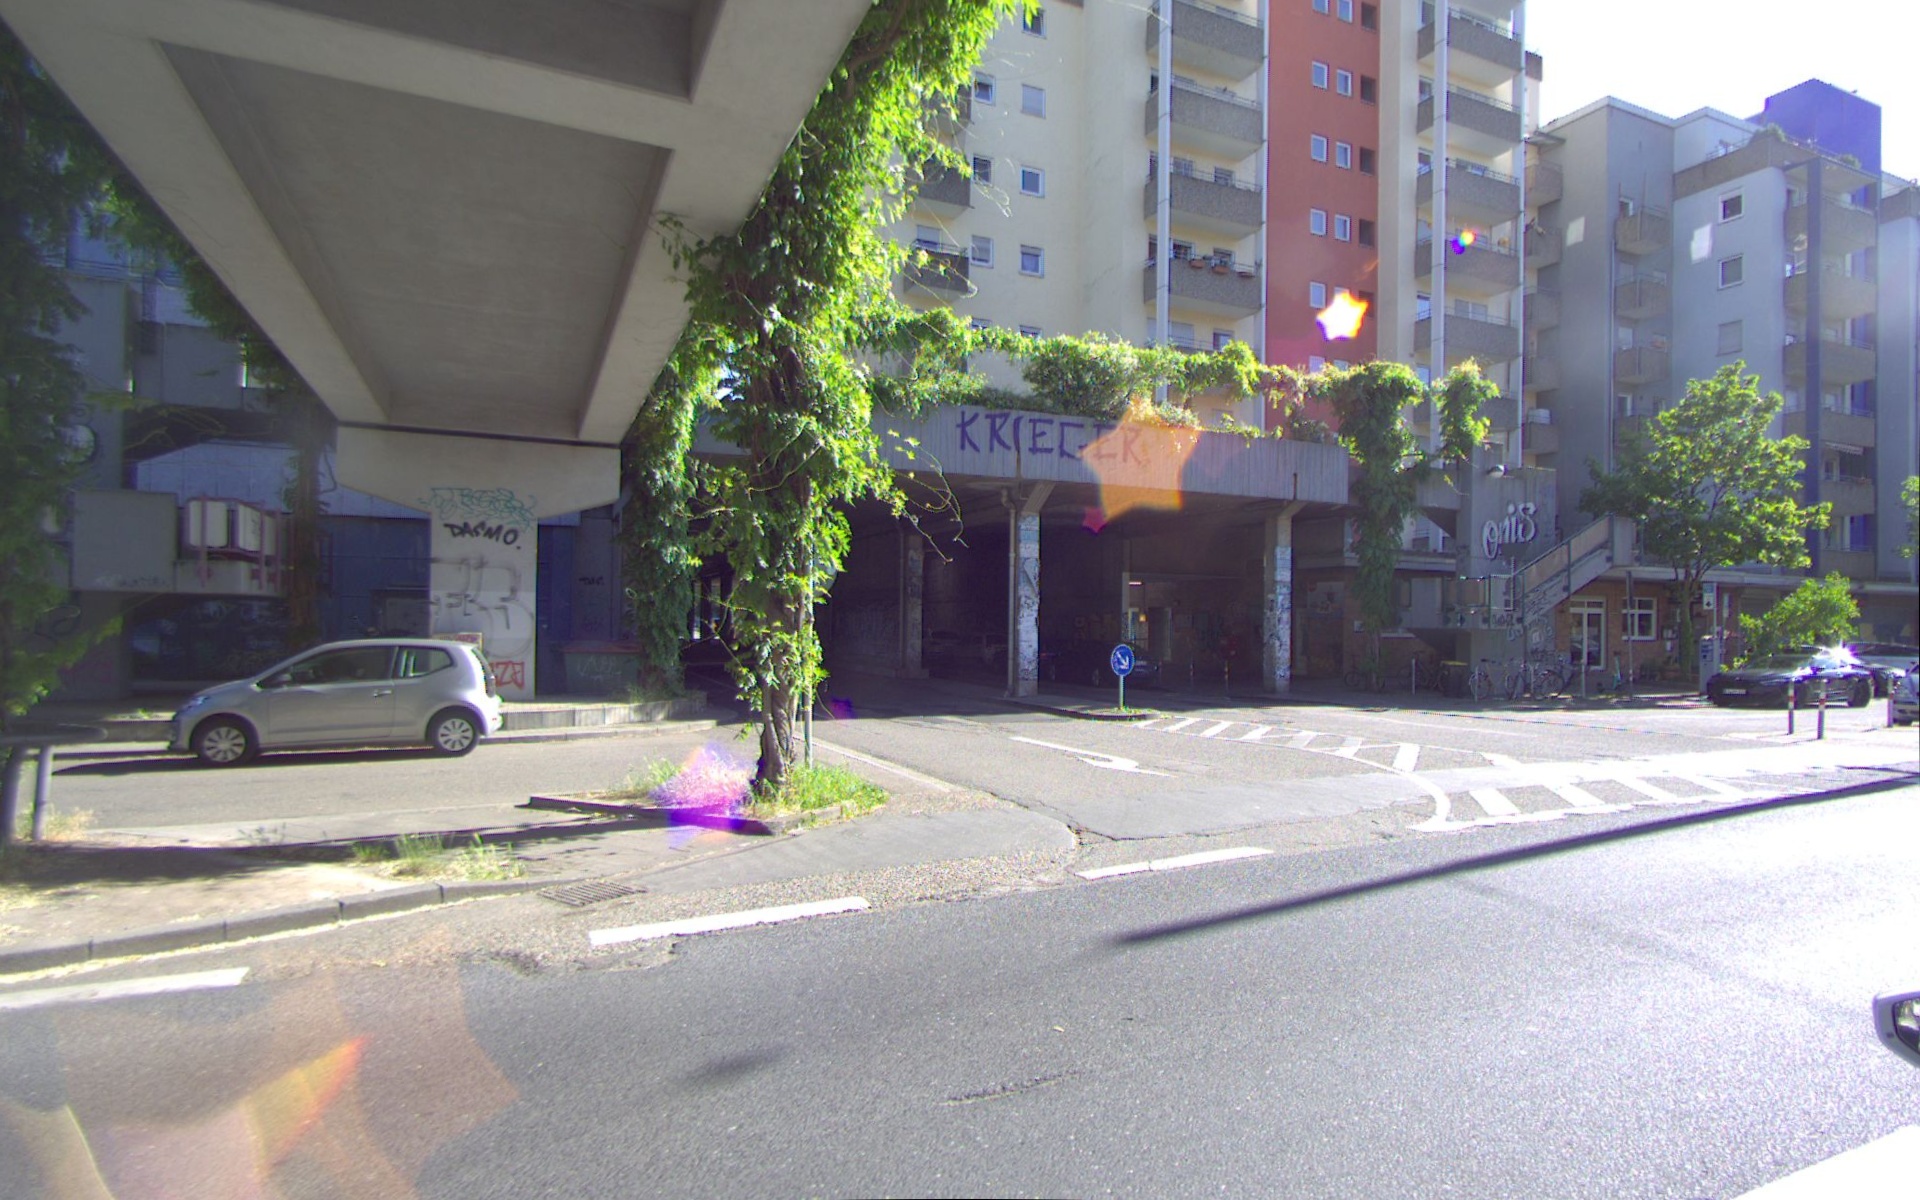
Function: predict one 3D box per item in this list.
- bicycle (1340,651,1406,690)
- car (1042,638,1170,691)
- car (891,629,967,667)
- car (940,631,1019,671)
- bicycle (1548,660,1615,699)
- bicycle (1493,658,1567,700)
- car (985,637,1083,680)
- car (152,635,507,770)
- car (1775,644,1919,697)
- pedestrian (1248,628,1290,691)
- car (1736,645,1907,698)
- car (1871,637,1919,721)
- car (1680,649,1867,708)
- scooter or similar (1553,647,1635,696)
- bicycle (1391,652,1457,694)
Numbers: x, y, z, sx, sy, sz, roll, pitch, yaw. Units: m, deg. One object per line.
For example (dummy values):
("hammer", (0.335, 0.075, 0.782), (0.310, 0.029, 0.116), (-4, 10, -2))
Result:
("bicycle", (11.587, 1.962, 28.216), (0.479, 1.014, 1.786), (0, -1, -32))
("car", (4.434, 1.949, 31.252), (1.831, 1.451, 4.583), (3, -3, -22))
("car", (-1.414, 2.068, 44.085), (1.713, 1.566, 4.127), (1, -2, -27))
("car", (0.743, 2.019, 40.108), (1.589, 1.507, 3.611), (1, -2, -28))
("bicycle", (16.678, 2.128, 26.954), (1.772, 1.014, 0.414), (1, 2, -15))
("bicycle", (14.905, 2.072, 26.251), (1.769, 1.045, 0.415), (1, 2, -8))
("car", (2.568, 2.039, 35.730), (1.743, 1.429, 4.039), (1, -2, -25))
("car", (-7.759, 1.215, 12.781), (3.599, 1.505, 1.601), (1, -2, -25))
("car", (30.884, 2.381, 34.640), (1.818, 1.628, 3.972), (2, -2, -27))
("pedestrian", (8.754, 1.676, 28.431), (0.786, 1.722, 0.753), (1, 1, -25))
("car", (28.595, 2.314, 33.469), (1.747, 1.571, 3.972), (2, -2, -27))
("car", (19.166, 1.483, 19.020), (3.486, 1.538, 1.713), (2, -3, -27))
("car", (21.214, 2.007, 26.191), (4.464, 1.416, 1.887), (1, -2, -23))
("scooter or similar", (18.281, 2.041, 29.021), (0.623, 1.294, 1.958), (1, -1, -29))
("bicycle", (12.760, 1.996, 27.672), (1.595, 1.014, 0.413), (1, 1, 43))
